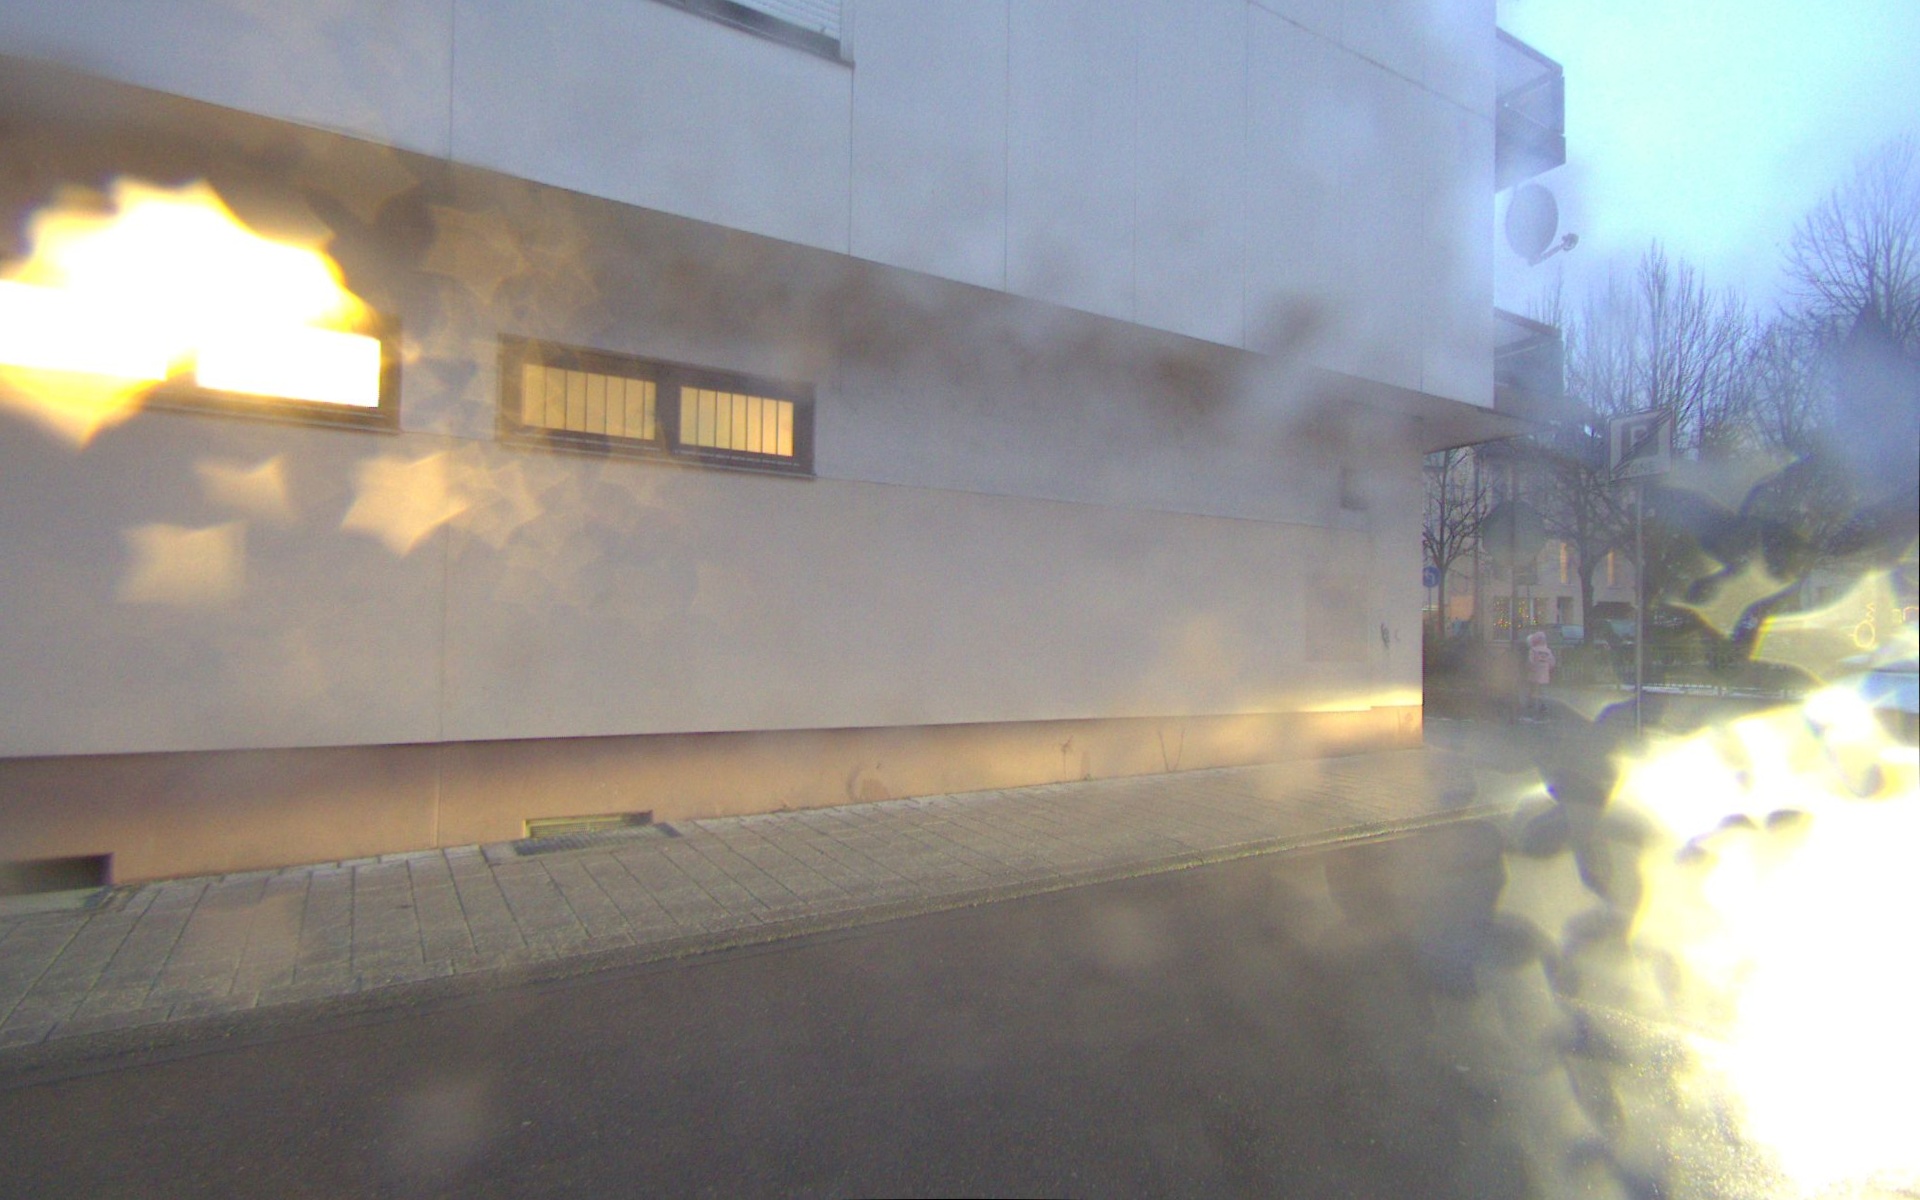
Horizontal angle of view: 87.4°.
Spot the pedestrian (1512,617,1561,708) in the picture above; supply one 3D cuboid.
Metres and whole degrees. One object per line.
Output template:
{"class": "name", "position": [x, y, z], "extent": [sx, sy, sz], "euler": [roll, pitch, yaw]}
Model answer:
{"class": "pedestrian", "position": [9.623, 1.025, 16.785], "extent": [0.638, 1.478, 0.650], "euler": [0, 0, 24]}

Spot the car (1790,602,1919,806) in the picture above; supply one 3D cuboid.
{"class": "car", "position": [9.498, 0.854, 9.110], "extent": [4.351, 1.617, 1.801], "euler": [1, -1, -33]}

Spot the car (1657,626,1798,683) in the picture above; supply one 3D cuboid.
{"class": "car", "position": [28.099, 1.941, 36.937], "extent": [1.786, 1.936, 3.993], "euler": [0, -1, -10]}

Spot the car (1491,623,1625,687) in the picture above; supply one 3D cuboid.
{"class": "car", "position": [20.388, 1.823, 34.438], "extent": [1.786, 2.015, 3.993], "euler": [0, -1, -10]}

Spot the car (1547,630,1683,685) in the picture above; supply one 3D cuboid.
{"class": "car", "position": [22.987, 1.982, 35.442], "extent": [1.786, 1.753, 3.993], "euler": [0, -1, -10]}
